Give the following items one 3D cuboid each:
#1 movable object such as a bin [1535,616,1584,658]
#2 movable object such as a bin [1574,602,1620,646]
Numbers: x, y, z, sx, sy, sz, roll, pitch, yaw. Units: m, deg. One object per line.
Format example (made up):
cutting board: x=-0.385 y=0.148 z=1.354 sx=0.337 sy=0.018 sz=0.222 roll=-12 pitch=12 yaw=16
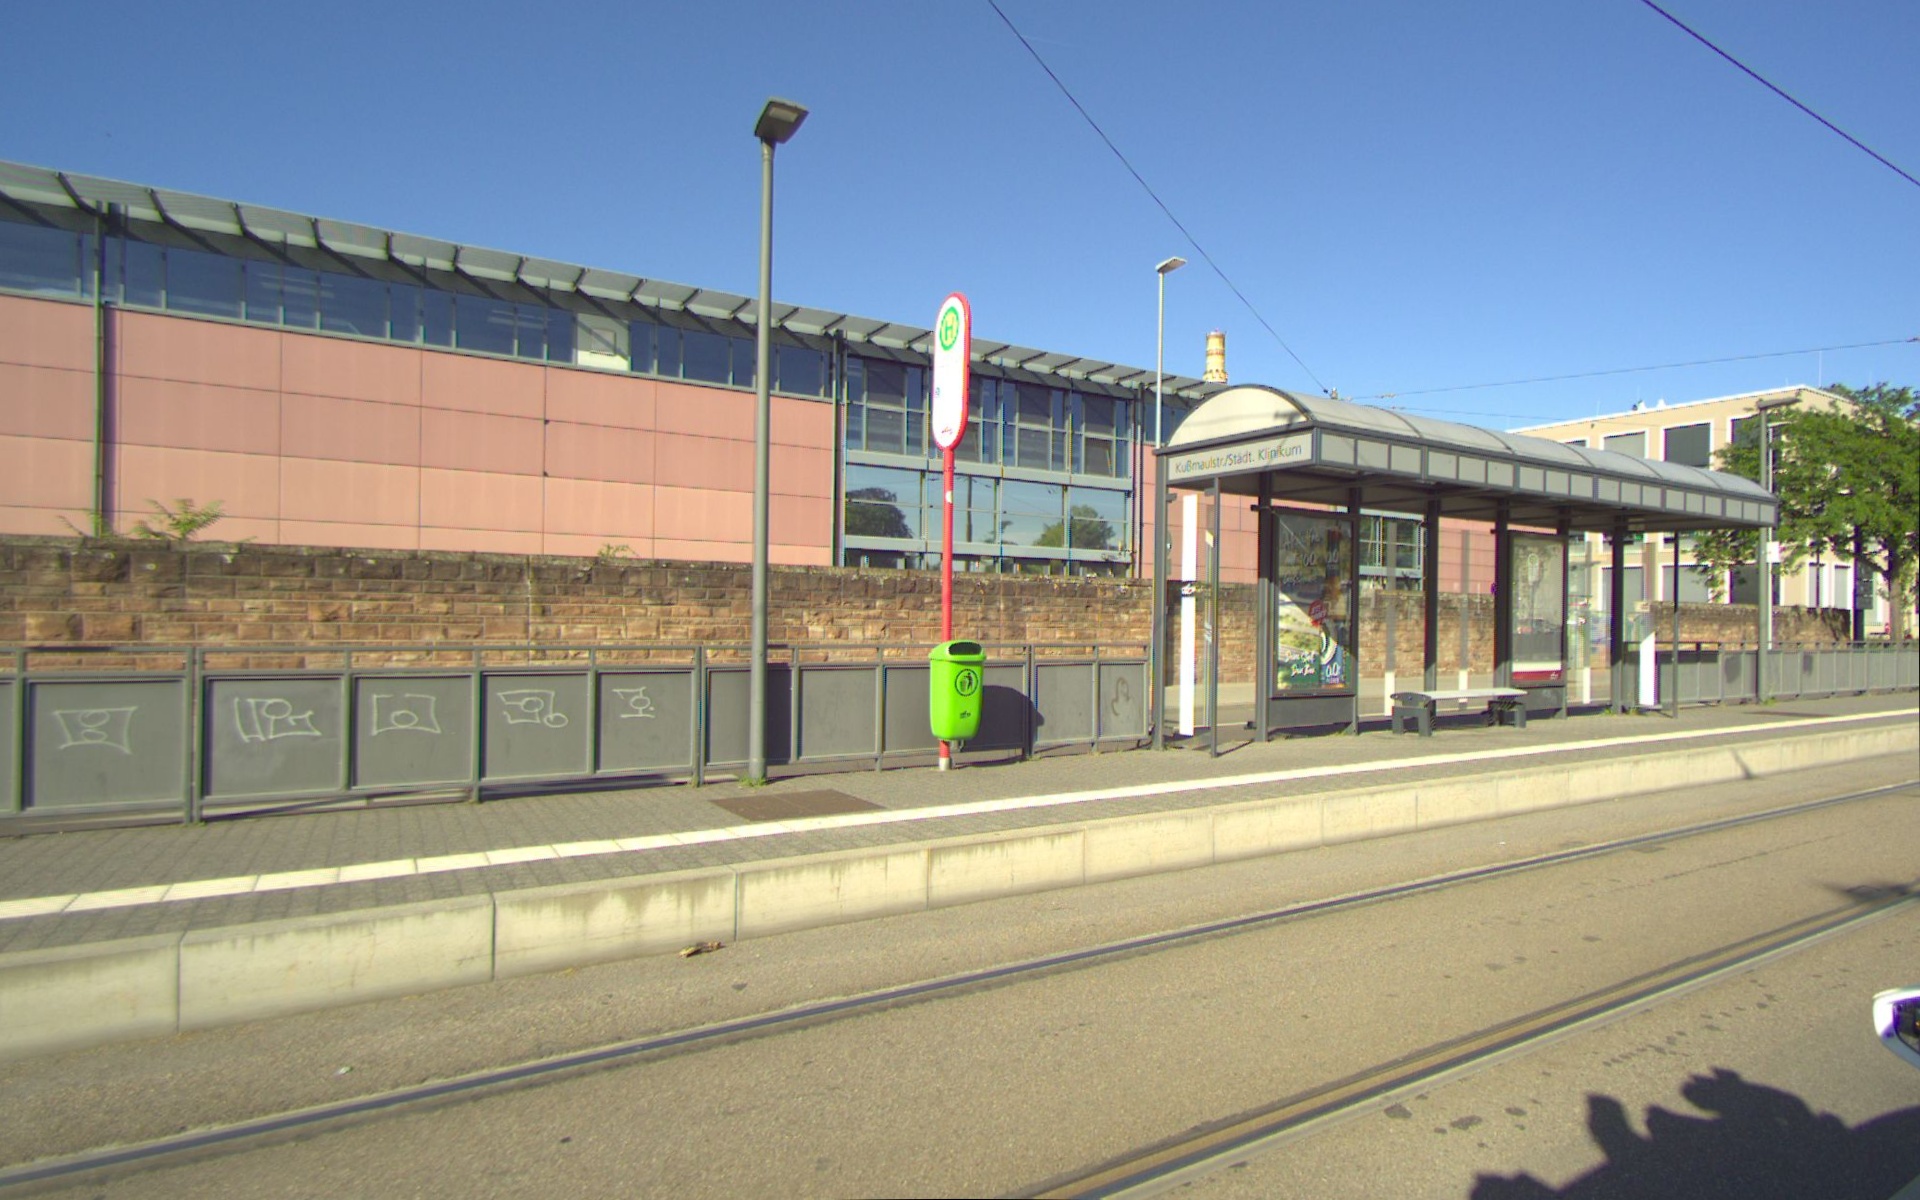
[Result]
movable object such as a bin: x=19.306 y=1.180 z=32.352 sx=1.295 sy=1.302 sz=0.876 roll=1 pitch=-1 yaw=-32
movable object such as a bin: x=21.875 y=0.836 z=34.499 sx=1.295 sy=1.466 sz=0.876 roll=1 pitch=-1 yaw=-32
